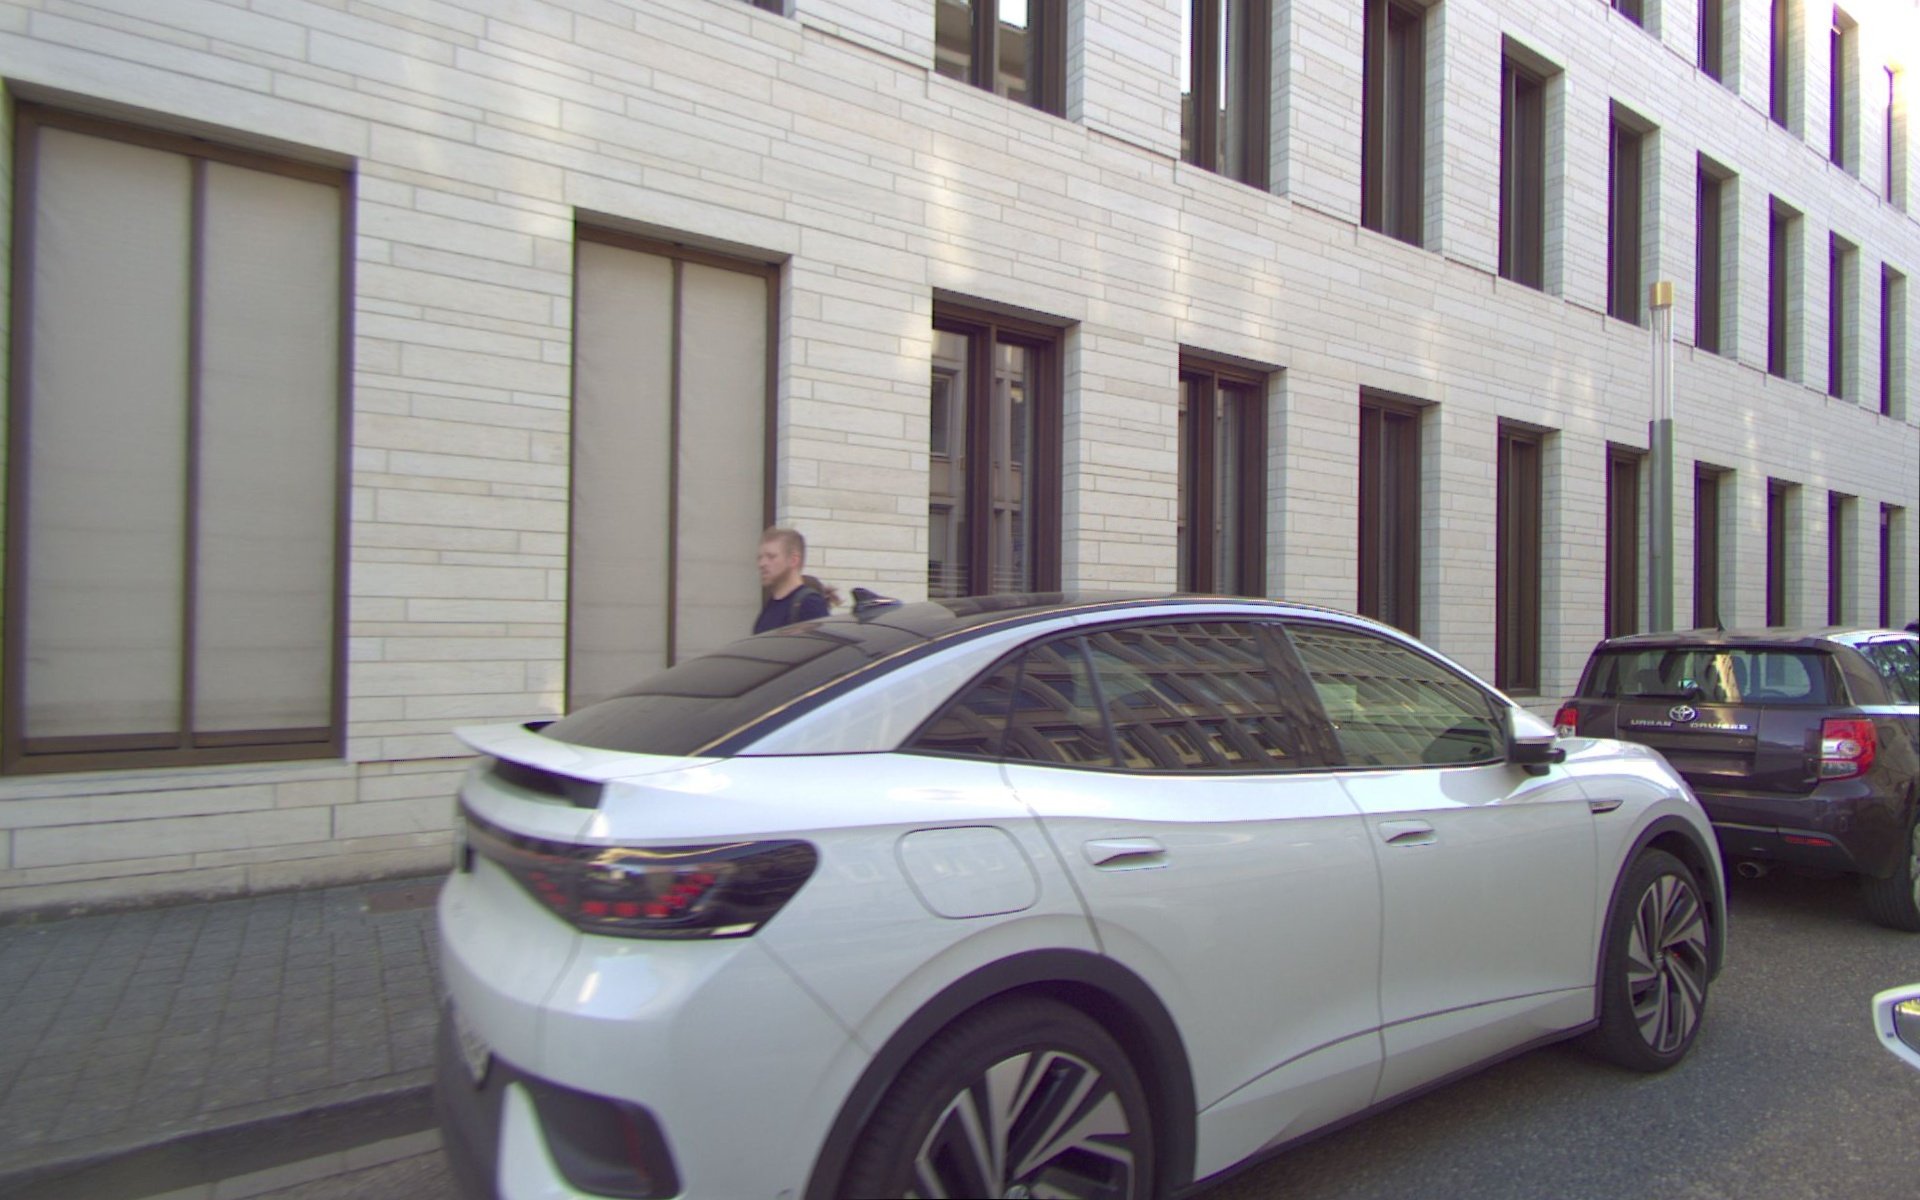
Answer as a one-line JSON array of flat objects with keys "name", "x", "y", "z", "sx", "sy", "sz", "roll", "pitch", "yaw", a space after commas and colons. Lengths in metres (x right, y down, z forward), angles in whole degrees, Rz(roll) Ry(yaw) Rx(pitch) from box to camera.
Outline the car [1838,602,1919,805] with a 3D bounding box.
[{"name": "car", "x": 10.087, "y": 0.900, "z": 9.377, "sx": 3.975, "sy": 1.737, "sz": 1.812, "roll": 1, "pitch": -3, "yaw": -33}]

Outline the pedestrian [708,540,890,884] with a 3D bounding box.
[{"name": "pedestrian", "x": -0.931, "y": 0.603, "z": 5.779, "sx": 0.808, "sy": 1.813, "sz": 0.640, "roll": 2, "pitch": -1, "yaw": -32}]

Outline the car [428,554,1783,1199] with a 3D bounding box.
[{"name": "car", "x": 0.753, "y": 0.731, "z": 3.389, "sx": 4.397, "sy": 1.562, "sz": 1.812, "roll": 1, "pitch": 1, "yaw": -32}]

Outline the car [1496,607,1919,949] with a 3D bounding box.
[{"name": "car", "x": 5.510, "y": 0.858, "z": 6.527, "sx": 4.218, "sy": 1.562, "sz": 1.812, "roll": 1, "pitch": -1, "yaw": -33}]

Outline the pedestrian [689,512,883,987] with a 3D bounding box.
[{"name": "pedestrian", "x": -0.748, "y": 0.579, "z": 4.261, "sx": 0.569, "sy": 1.813, "sz": 0.638, "roll": 2, "pitch": -1, "yaw": -32}]
